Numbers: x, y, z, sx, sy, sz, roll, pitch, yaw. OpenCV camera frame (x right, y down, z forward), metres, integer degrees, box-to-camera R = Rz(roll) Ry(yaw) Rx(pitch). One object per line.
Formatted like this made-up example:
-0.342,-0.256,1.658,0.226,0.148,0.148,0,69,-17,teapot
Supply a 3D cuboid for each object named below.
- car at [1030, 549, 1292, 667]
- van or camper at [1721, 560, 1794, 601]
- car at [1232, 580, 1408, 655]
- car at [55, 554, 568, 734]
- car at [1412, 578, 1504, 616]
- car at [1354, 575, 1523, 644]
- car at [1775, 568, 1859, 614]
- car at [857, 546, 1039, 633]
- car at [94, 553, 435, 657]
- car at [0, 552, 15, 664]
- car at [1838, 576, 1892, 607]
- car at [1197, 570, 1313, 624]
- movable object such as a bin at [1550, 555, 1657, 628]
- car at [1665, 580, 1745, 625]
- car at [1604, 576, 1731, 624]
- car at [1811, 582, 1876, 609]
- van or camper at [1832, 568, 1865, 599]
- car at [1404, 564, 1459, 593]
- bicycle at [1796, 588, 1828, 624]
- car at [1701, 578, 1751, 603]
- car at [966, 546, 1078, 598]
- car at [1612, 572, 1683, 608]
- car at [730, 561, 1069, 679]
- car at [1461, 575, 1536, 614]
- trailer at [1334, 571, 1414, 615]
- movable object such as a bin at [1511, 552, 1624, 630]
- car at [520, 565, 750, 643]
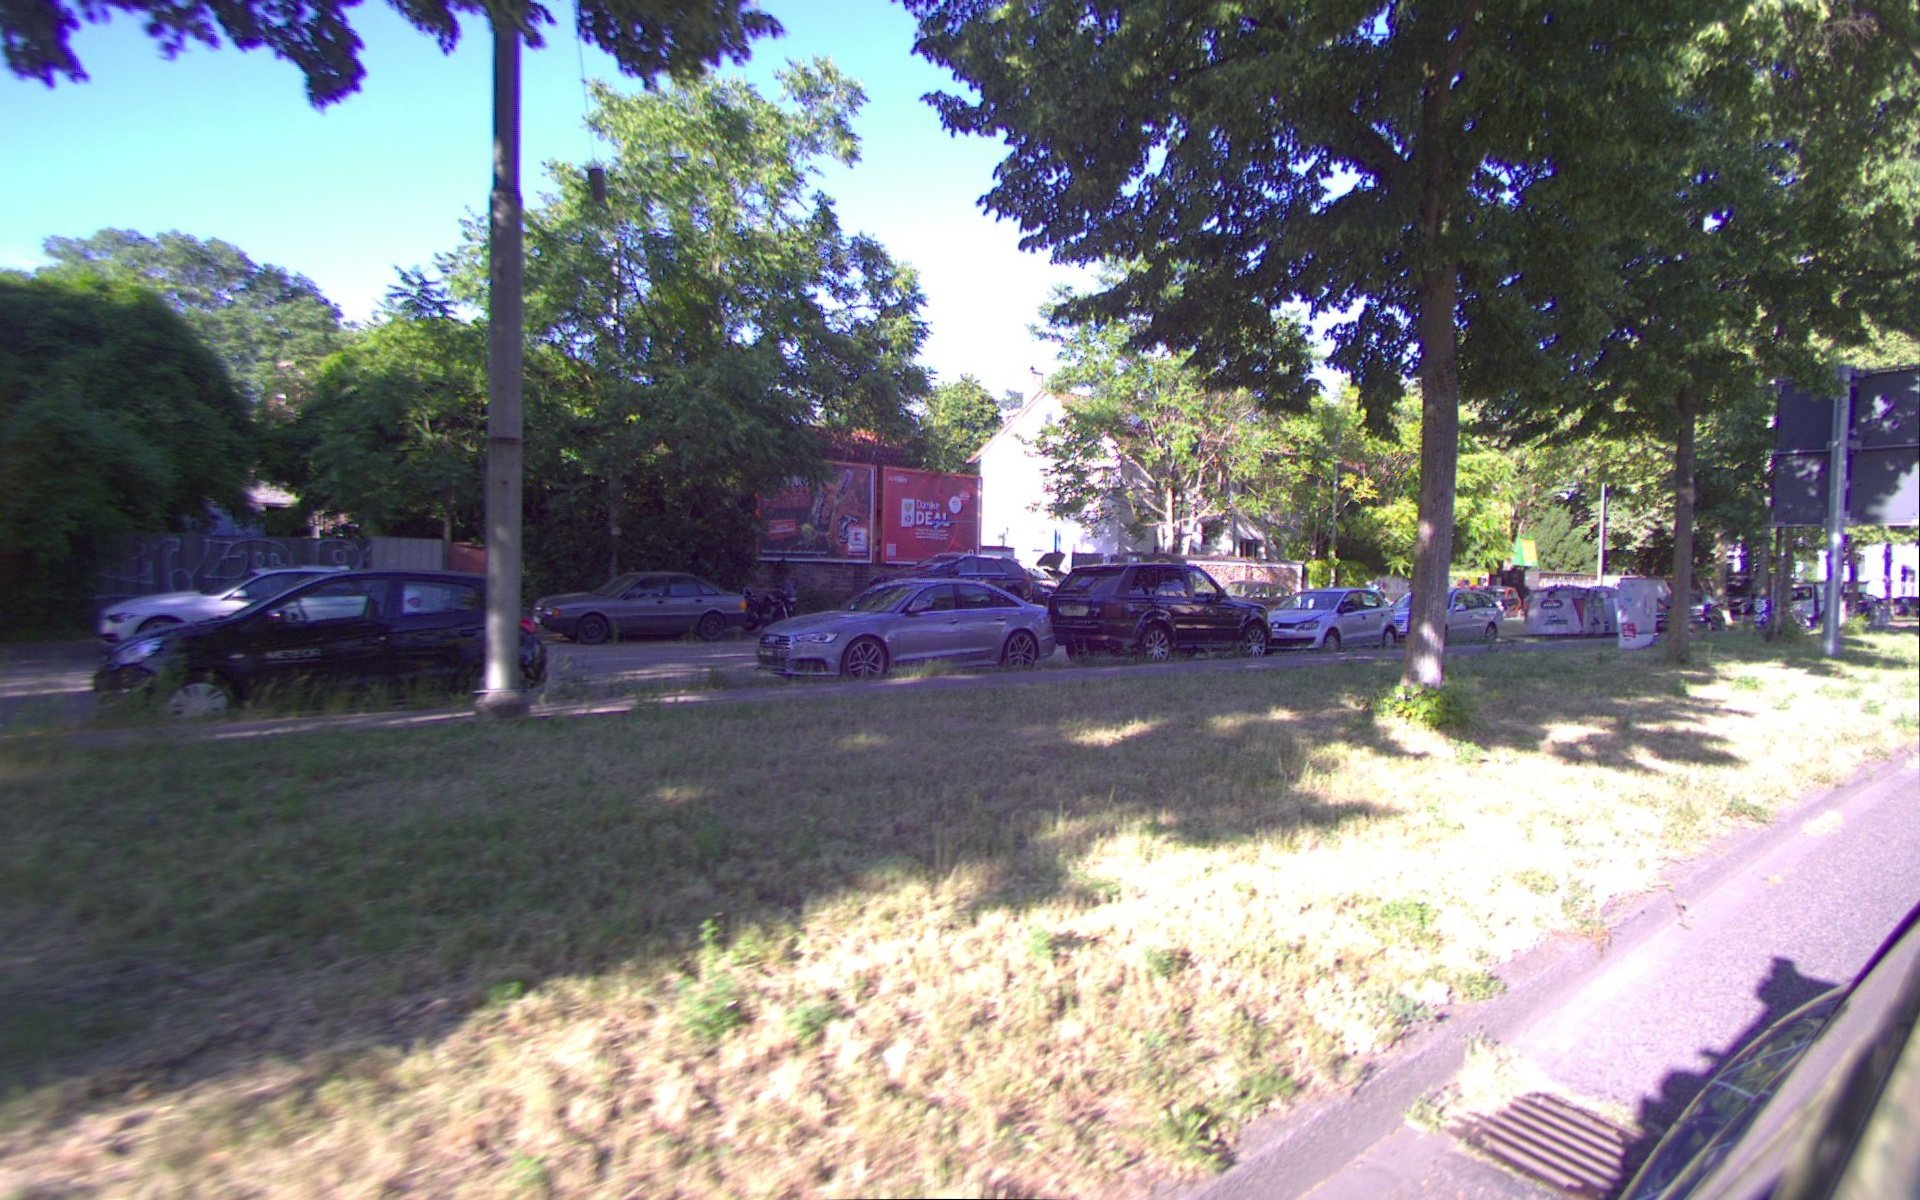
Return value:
3.659,0.079,17.968,4.803,1.843,1.876,-1,1,-38,car
57.970,-1.393,73.521,6.444,2.716,2.564,0,4,-38,van or camper
7.605,0.297,21.212,3.933,1.406,1.873,-1,1,-43,car
-6.128,0.298,9.815,3.933,1.385,1.873,-1,1,-43,car
21.990,-0.157,44.657,4.246,1.500,1.999,-1,4,-39,car
11.892,0.163,24.989,4.967,1.543,1.875,-1,1,-40,car
40.188,-0.465,47.410,5.720,2.039,2.193,-1,1,-42,car
-0.235,-0.328,26.299,4.610,2.026,1.875,-1,4,-41,car
-11.686,0.002,17.219,4.610,1.501,1.875,-1,4,-41,car
-16.045,0.120,13.728,4.610,1.565,1.875,-1,4,-41,car
50.143,-0.497,56.058,4.278,1.662,1.739,-2,1,-41,car
10.220,-0.153,34.987,3.931,1.659,1.998,-1,5,-42,car
18.889,-0.269,29.706,2.098,2.039,2.086,-1,1,-38,movable object such as a bin
26.655,0.054,36.202,2.936,1.519,1.665,-1,1,-40,car
22.682,-0.030,32.376,4.657,1.402,2.005,-1,1,-37,car
44.814,-0.245,51.335,3.983,1.306,1.997,-1,1,-41,car
84.833,-1.596,96.580,1.995,2.763,4.886,6,5,44,van or camper
33.534,-1.513,71.977,3.927,2.039,1.999,-1,1,-37,car
26.301,0.169,31.227,1.871,1.060,0.493,-1,1,-41,bicycle
51.437,-0.653,67.938,3.688,1.489,1.696,-1,4,-37,car
2.312,-1.103,38.340,1.873,1.765,3.993,-1,4,-43,car
40.492,-0.626,59.571,4.852,2.038,2.092,-1,2,-38,car
-0.739,0.197,14.782,4.817,1.452,1.874,-1,1,-41,car
25.018,-0.290,46.998,3.421,1.626,1.997,-1,6,-43,car
16.955,-0.337,41.407,2.968,1.660,1.735,-1,4,-38,trailer
16.787,-0.266,27.982,2.098,2.039,2.086,-1,1,-38,movable object such as a bin
-6.722,0.020,21.123,4.235,1.387,1.736,-1,5,-39,car
